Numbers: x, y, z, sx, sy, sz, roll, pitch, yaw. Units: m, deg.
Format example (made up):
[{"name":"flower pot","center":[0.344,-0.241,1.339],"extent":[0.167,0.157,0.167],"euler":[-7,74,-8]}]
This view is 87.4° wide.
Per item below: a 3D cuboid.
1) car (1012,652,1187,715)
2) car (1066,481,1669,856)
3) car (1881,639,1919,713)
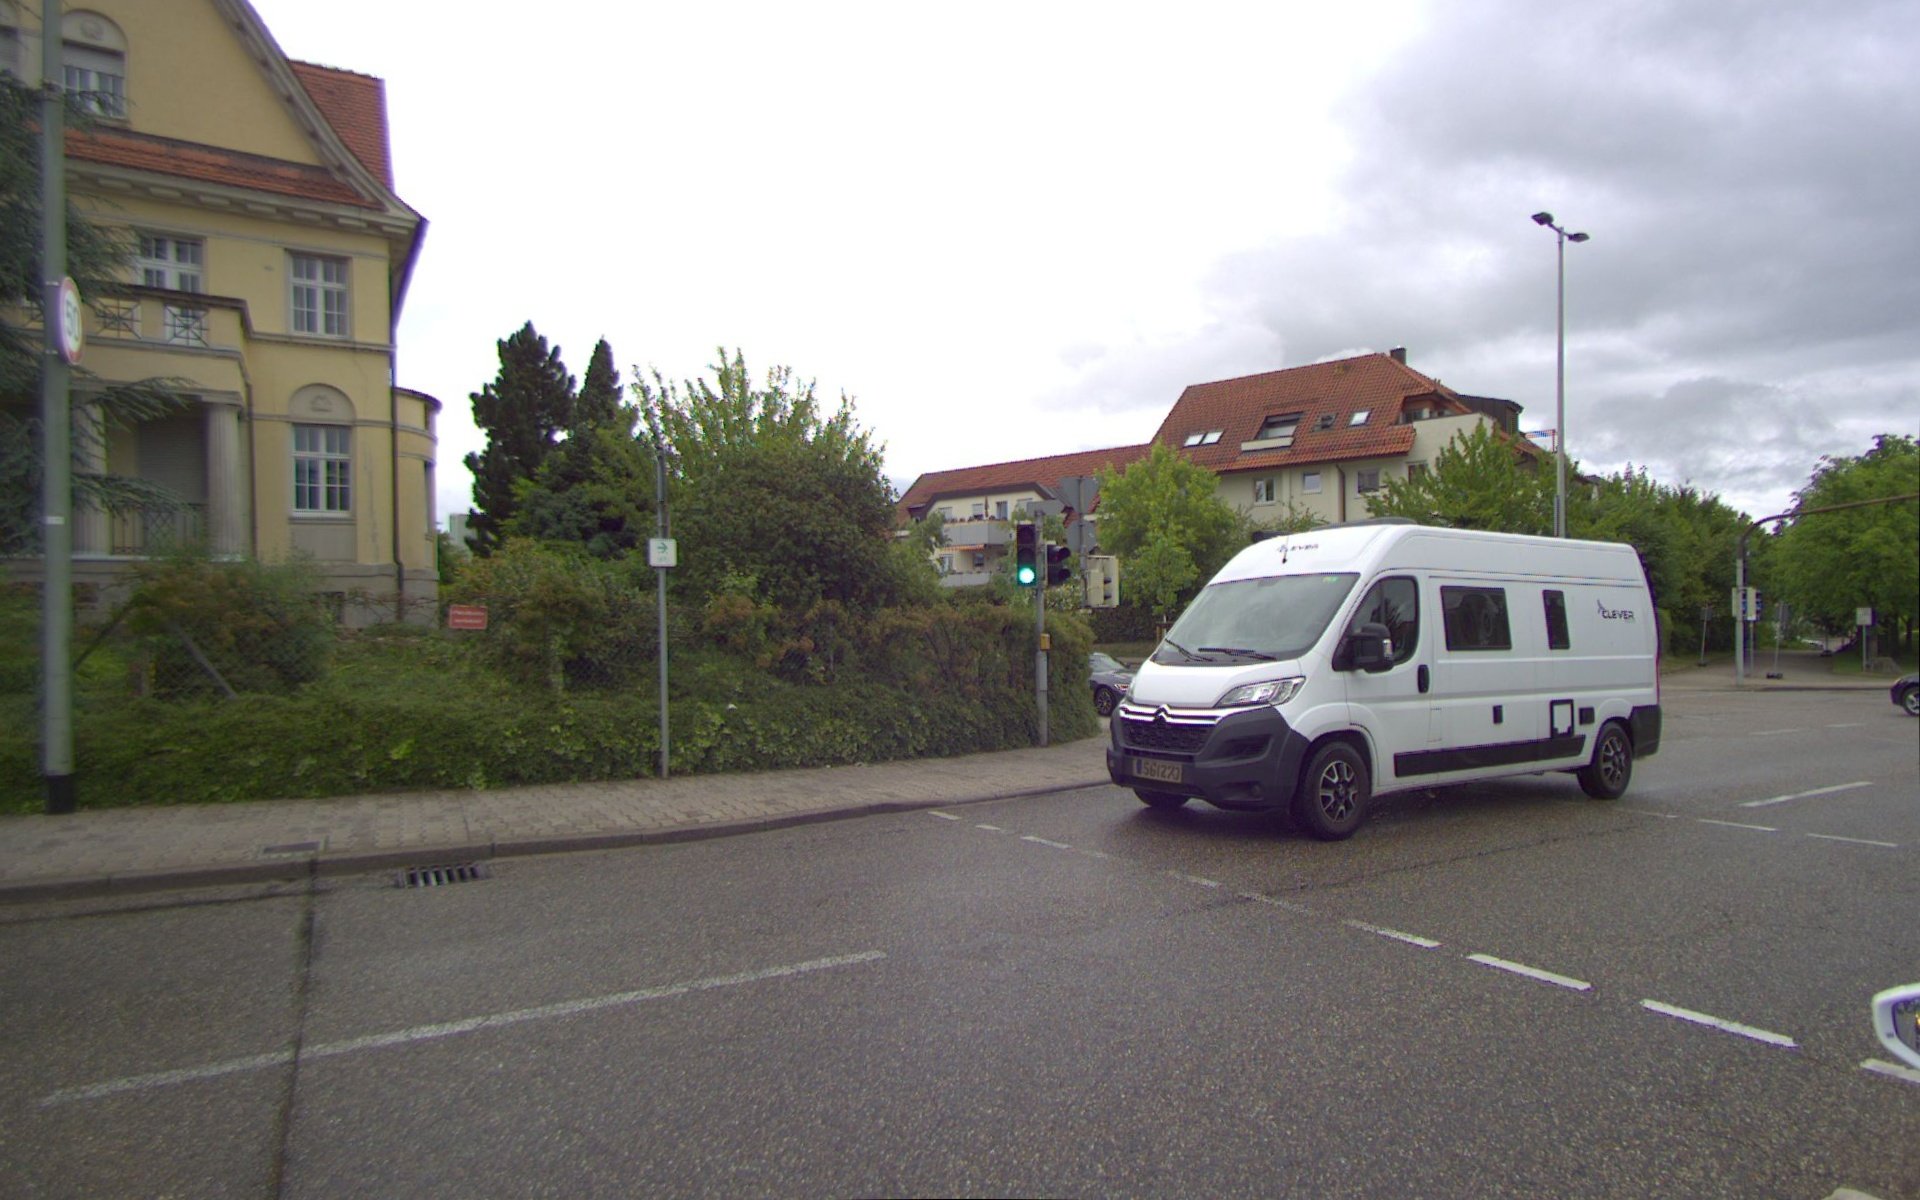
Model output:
[{"name":"car","center":[3.319,2.014,24.739],"extent":[1.759,1.411,4.391],"euler":[3,-5,-36]},{"name":"car","center":[3.945,0.581,9.362],"extent":[5.709,2.561,2.286],"euler":[2,-3,-32]},{"name":"car","center":[20.606,1.551,19.395],"extent":[1.733,1.499,3.996],"euler":[1,-1,-7]}]
